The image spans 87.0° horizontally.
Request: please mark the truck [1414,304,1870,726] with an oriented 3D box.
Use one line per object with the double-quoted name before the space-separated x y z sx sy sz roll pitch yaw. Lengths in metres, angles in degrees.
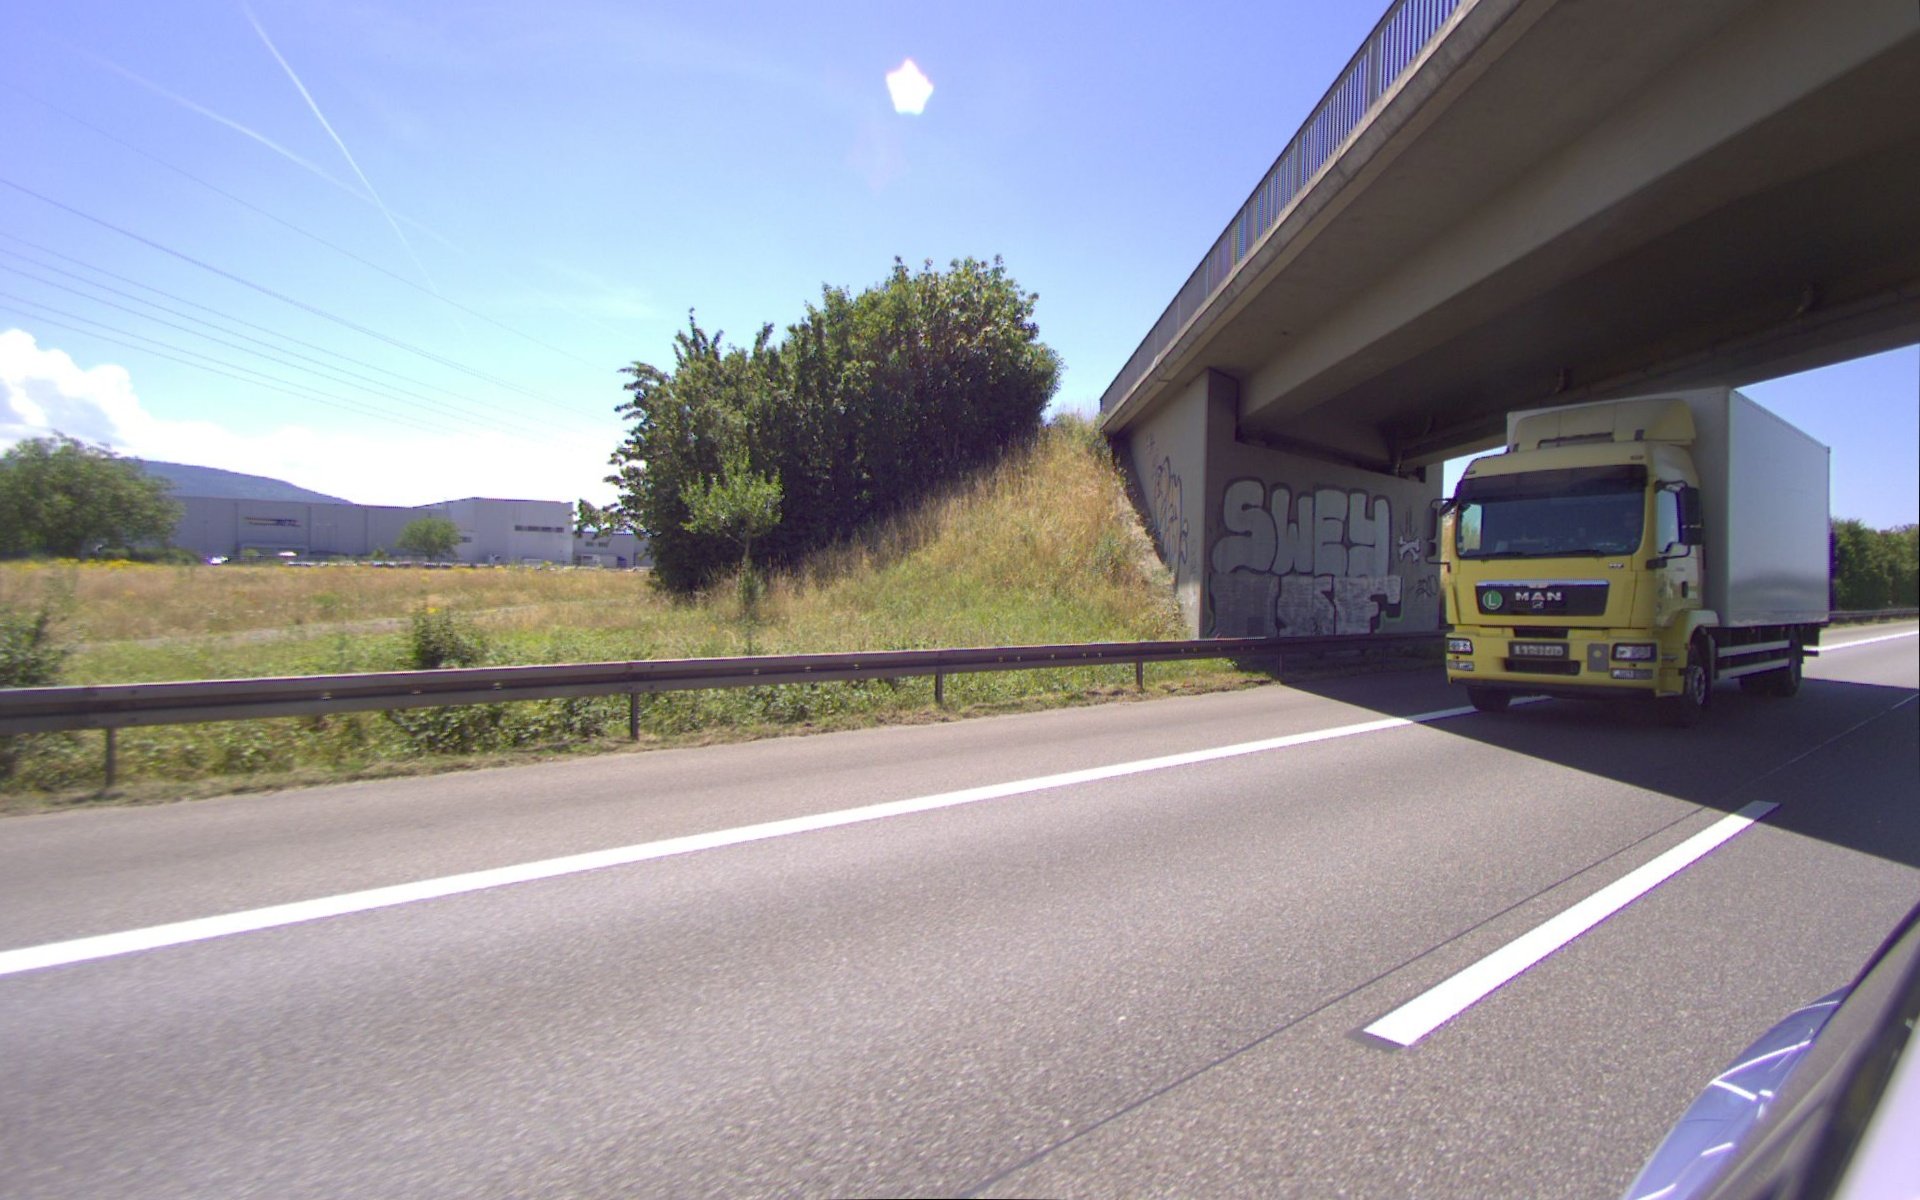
"truck" 10.481 -0.873 14.776 10.495 4.253 2.938 0 0 -41
